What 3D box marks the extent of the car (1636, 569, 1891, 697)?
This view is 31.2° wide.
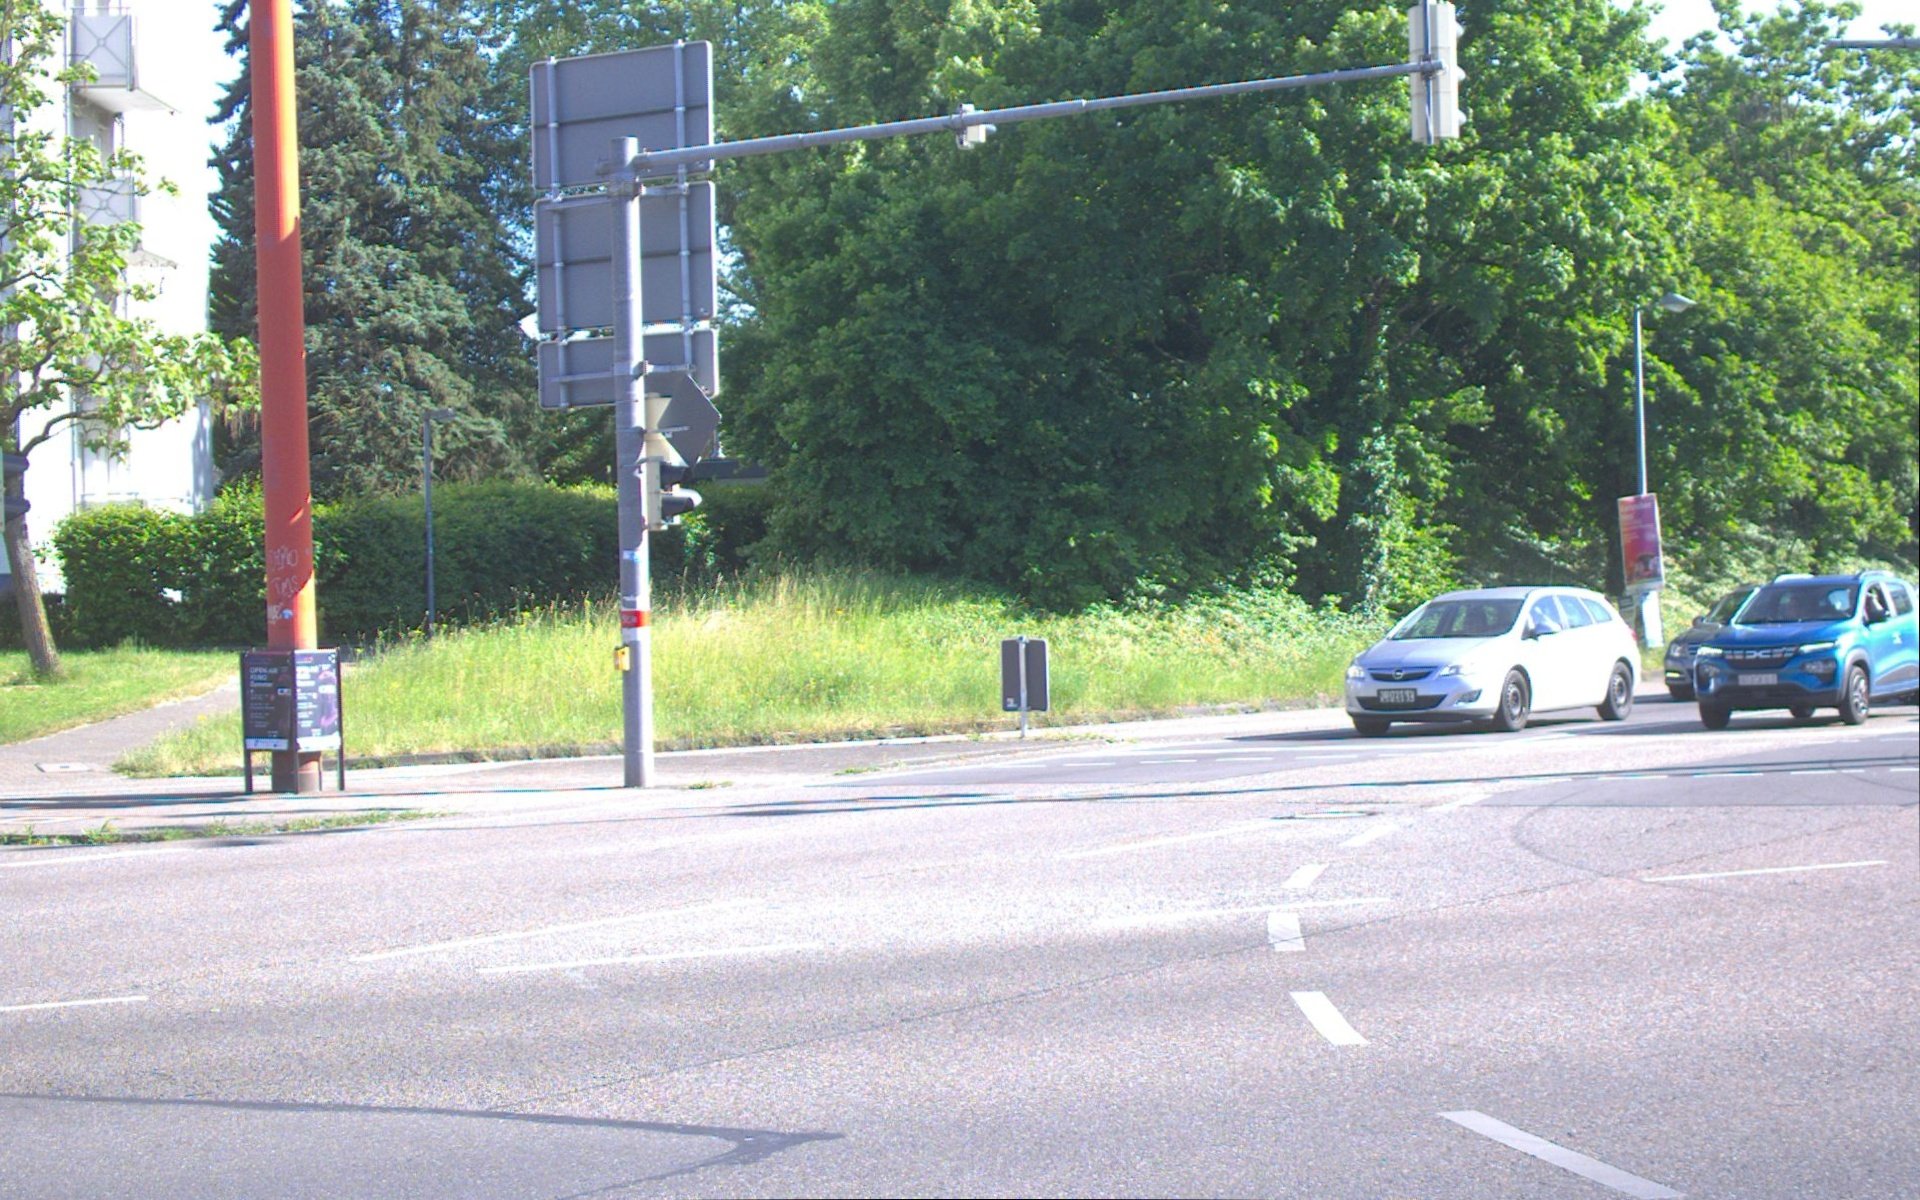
[{"bbox_3d":[10.407,0.407,44.365,1.888,1.508,3.992,-2,0,34],"label":"car"}]

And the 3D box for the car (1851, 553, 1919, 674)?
[{"bbox_3d":[14.357,0.179,49.578,1.781,1.647,3.967,-4,-2,31],"label":"car"}]

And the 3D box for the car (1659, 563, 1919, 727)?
[{"bbox_3d":[8.647,0.422,34.623,1.804,1.510,3.852,-3,0,33],"label":"car"}]

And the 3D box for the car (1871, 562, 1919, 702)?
[{"bbox_3d":[12.074,0.314,39.716,1.904,1.549,3.993,-2,0,31],"label":"car"}]

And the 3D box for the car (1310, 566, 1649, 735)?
[{"bbox_3d":[5.549,0.503,36.311,1.880,1.646,4.211,-2,-1,34],"label":"car"}]
